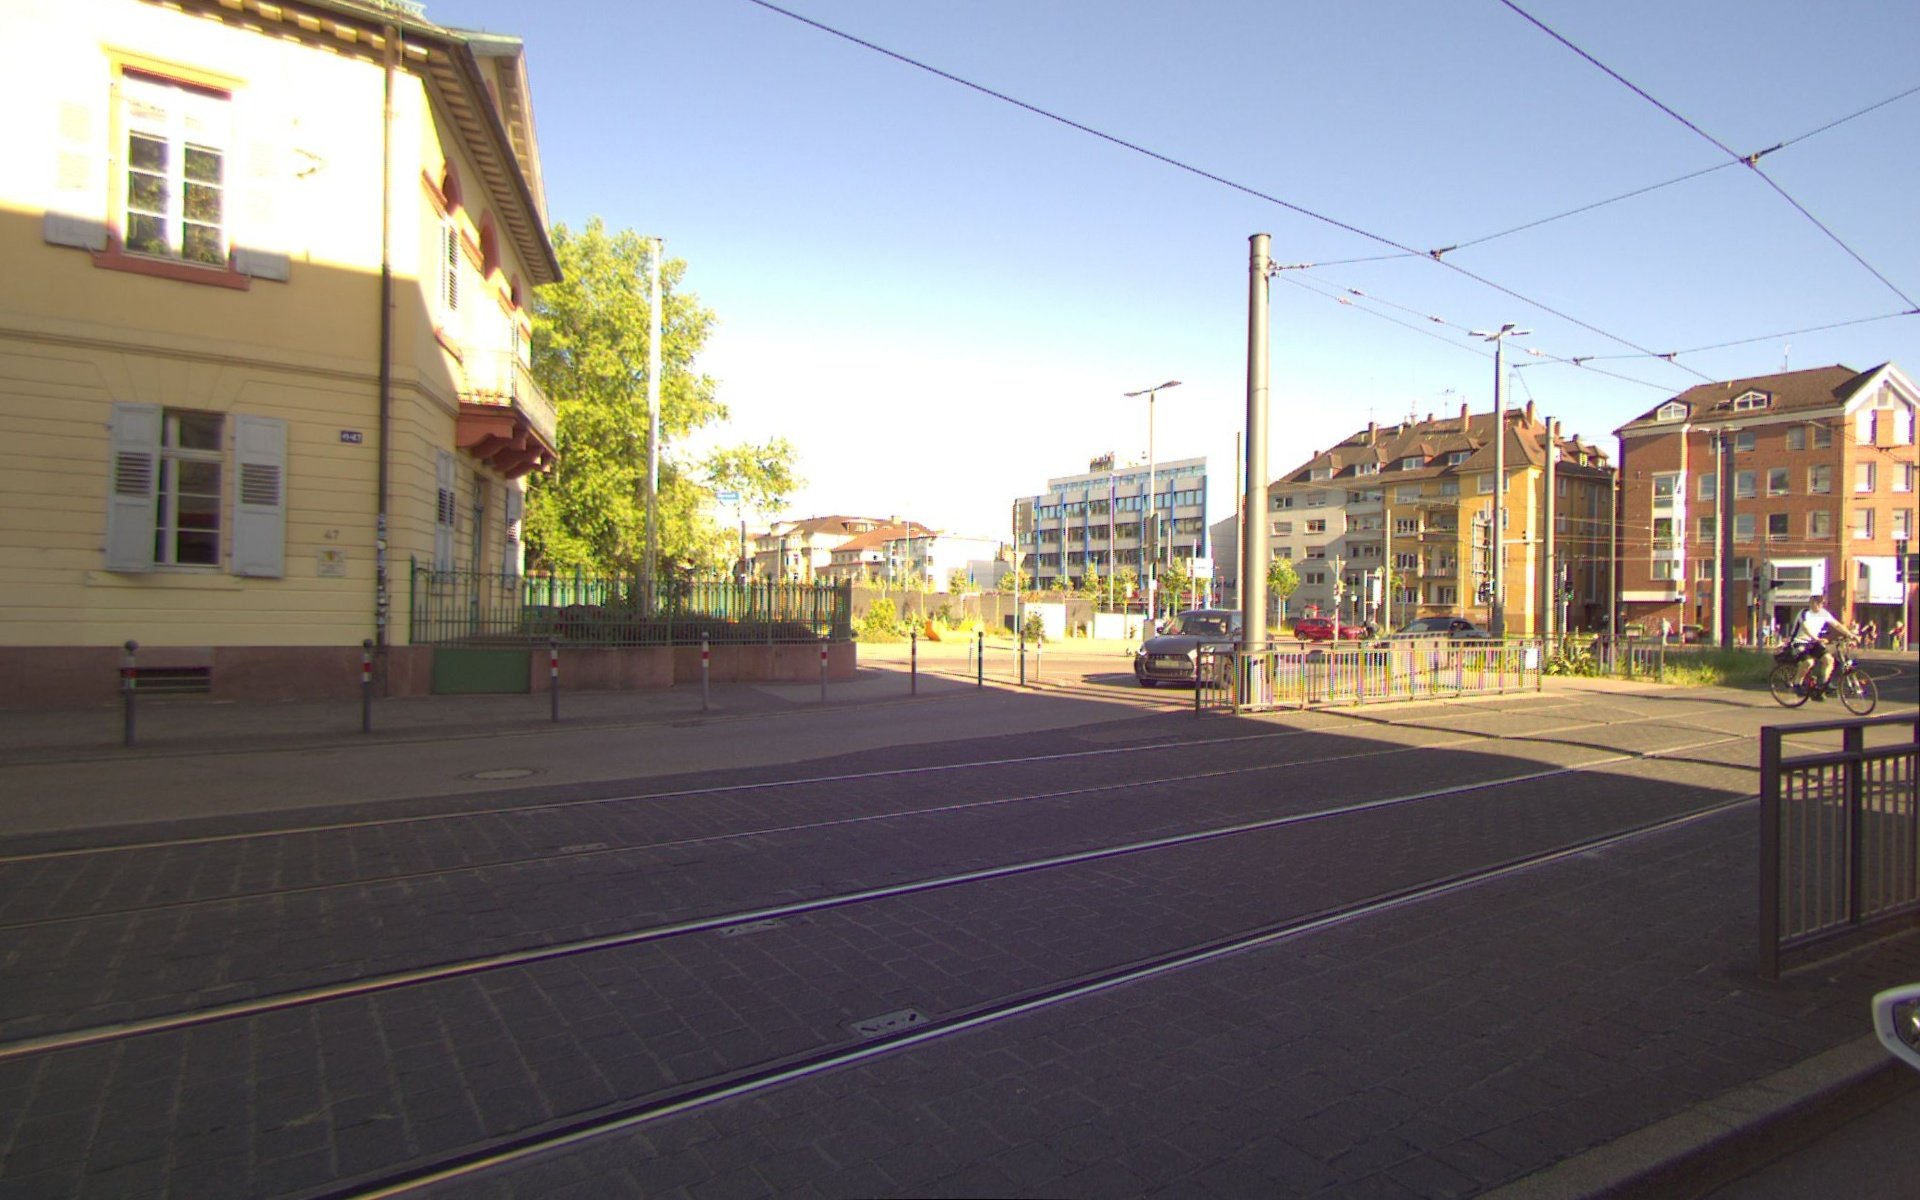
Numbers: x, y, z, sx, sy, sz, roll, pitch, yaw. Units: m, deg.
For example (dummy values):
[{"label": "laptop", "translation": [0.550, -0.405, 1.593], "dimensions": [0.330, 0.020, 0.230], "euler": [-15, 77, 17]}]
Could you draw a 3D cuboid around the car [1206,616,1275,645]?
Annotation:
[{"label": "car", "translation": [18.007, 1.934, 64.584], "dimensions": [1.762, 1.694, 3.955], "euler": [2, 0, -39]}]

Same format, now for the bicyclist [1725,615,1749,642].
[{"label": "bicyclist", "translation": [45.640, 1.674, 59.014], "dimensions": [0.688, 1.523, 0.894], "euler": [2, 0, -30]}]

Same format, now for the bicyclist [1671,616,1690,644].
[{"label": "bicyclist", "translation": [39.721, 1.641, 55.371], "dimensions": [0.688, 1.523, 0.630], "euler": [2, 0, -30]}]

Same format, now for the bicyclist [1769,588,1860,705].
[{"label": "bicyclist", "translation": [13.462, 0.715, 15.842], "dimensions": [0.745, 1.783, 0.752], "euler": [2, 0, -10]}]

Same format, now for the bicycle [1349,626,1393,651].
[{"label": "bicycle", "translation": [22.282, 2.081, 54.484], "dimensions": [0.542, 1.230, 2.168], "euler": [2, 0, -41]}]

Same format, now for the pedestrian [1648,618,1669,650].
[{"label": "pedestrian", "translation": [41.652, 2.042, 59.907], "dimensions": [0.737, 1.845, 0.781], "euler": [2, 0, -28]}]

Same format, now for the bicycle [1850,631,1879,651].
[{"label": "bicycle", "translation": [53.899, 2.453, 59.851], "dimensions": [2.255, 1.103, 0.527], "euler": [2, 0, -28]}]

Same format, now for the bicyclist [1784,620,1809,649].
[{"label": "bicyclist", "translation": [45.967, 1.883, 55.188], "dimensions": [0.737, 1.584, 0.781], "euler": [2, 0, -28]}]

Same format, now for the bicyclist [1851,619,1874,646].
[{"label": "bicyclist", "translation": [53.753, 1.914, 59.837], "dimensions": [0.737, 1.584, 0.781], "euler": [1, 0, -28]}]

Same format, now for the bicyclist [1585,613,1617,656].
[{"label": "bicyclist", "translation": [23.700, 1.273, 37.150], "dimensions": [0.581, 1.547, 0.782], "euler": [2, 0, -28]}]

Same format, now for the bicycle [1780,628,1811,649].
[{"label": "bicycle", "translation": [45.805, 2.114, 55.069], "dimensions": [2.197, 1.103, 0.535], "euler": [2, 0, -28]}]

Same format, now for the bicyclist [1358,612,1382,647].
[{"label": "bicyclist", "translation": [22.258, 1.594, 54.508], "dimensions": [0.785, 1.832, 0.892], "euler": [2, 0, -42]}]

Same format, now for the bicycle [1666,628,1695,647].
[{"label": "bicycle", "translation": [39.726, 2.058, 55.386], "dimensions": [2.220, 0.984, 0.444], "euler": [2, 0, -31]}]

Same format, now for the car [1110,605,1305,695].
[{"label": "car", "translation": [4.857, 0.935, 19.508], "dimensions": [3.830, 1.546, 1.628], "euler": [2, 0, -37]}]

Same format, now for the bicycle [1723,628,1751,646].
[{"label": "bicycle", "translation": [45.706, 2.168, 59.088], "dimensions": [2.220, 0.984, 0.521], "euler": [2, 0, -31]}]

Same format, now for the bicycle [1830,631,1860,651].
[{"label": "bicycle", "translation": [51.608, 2.376, 58.556], "dimensions": [2.255, 1.103, 0.527], "euler": [2, 0, -28]}]

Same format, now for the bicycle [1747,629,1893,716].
[{"label": "bicycle", "translation": [13.489, 1.102, 15.826], "dimensions": [0.477, 1.238, 1.852], "euler": [2, 0, -10]}]

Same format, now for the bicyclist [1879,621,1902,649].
[{"label": "bicyclist", "translation": [53.515, 2.006, 57.773], "dimensions": [0.737, 1.584, 0.781], "euler": [1, 0, -28]}]

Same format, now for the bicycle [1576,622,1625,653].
[{"label": "bicycle", "translation": [23.740, 1.404, 37.202], "dimensions": [2.172, 1.108, 0.457], "euler": [2, 0, -26]}]

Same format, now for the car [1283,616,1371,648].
[{"label": "car", "translation": [21.857, 1.878, 59.921], "dimensions": [1.984, 1.723, 4.545], "euler": [2, 0, -41]}]

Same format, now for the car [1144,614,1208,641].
[{"label": "car", "translation": [14.739, 1.863, 68.585], "dimensions": [1.895, 1.708, 3.916], "euler": [2, 0, -41]}]

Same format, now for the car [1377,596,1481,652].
[{"label": "car", "translation": [14.256, 0.729, 30.434], "dimensions": [1.692, 1.547, 4.013], "euler": [2, 0, 43]}]

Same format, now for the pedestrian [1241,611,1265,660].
[{"label": "pedestrian", "translation": [10.467, 1.266, 35.881], "dimensions": [0.759, 1.703, 0.593], "euler": [2, 0, 16]}]

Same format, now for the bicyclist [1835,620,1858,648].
[{"label": "bicyclist", "translation": [51.740, 1.988, 58.633], "dimensions": [0.737, 1.584, 0.781], "euler": [1, 0, -28]}]

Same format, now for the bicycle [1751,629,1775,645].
[{"label": "bicycle", "translation": [50.486, 2.336, 63.143], "dimensions": [1.669, 0.994, 0.403], "euler": [2, 0, -22]}]

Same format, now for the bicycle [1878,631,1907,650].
[{"label": "bicycle", "translation": [53.581, 2.320, 57.696], "dimensions": [2.197, 1.103, 0.527], "euler": [1, 0, -28]}]

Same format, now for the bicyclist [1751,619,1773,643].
[{"label": "bicyclist", "translation": [50.402, 1.935, 63.103], "dimensions": [0.958, 1.490, 0.702], "euler": [1, 0, -22]}]
